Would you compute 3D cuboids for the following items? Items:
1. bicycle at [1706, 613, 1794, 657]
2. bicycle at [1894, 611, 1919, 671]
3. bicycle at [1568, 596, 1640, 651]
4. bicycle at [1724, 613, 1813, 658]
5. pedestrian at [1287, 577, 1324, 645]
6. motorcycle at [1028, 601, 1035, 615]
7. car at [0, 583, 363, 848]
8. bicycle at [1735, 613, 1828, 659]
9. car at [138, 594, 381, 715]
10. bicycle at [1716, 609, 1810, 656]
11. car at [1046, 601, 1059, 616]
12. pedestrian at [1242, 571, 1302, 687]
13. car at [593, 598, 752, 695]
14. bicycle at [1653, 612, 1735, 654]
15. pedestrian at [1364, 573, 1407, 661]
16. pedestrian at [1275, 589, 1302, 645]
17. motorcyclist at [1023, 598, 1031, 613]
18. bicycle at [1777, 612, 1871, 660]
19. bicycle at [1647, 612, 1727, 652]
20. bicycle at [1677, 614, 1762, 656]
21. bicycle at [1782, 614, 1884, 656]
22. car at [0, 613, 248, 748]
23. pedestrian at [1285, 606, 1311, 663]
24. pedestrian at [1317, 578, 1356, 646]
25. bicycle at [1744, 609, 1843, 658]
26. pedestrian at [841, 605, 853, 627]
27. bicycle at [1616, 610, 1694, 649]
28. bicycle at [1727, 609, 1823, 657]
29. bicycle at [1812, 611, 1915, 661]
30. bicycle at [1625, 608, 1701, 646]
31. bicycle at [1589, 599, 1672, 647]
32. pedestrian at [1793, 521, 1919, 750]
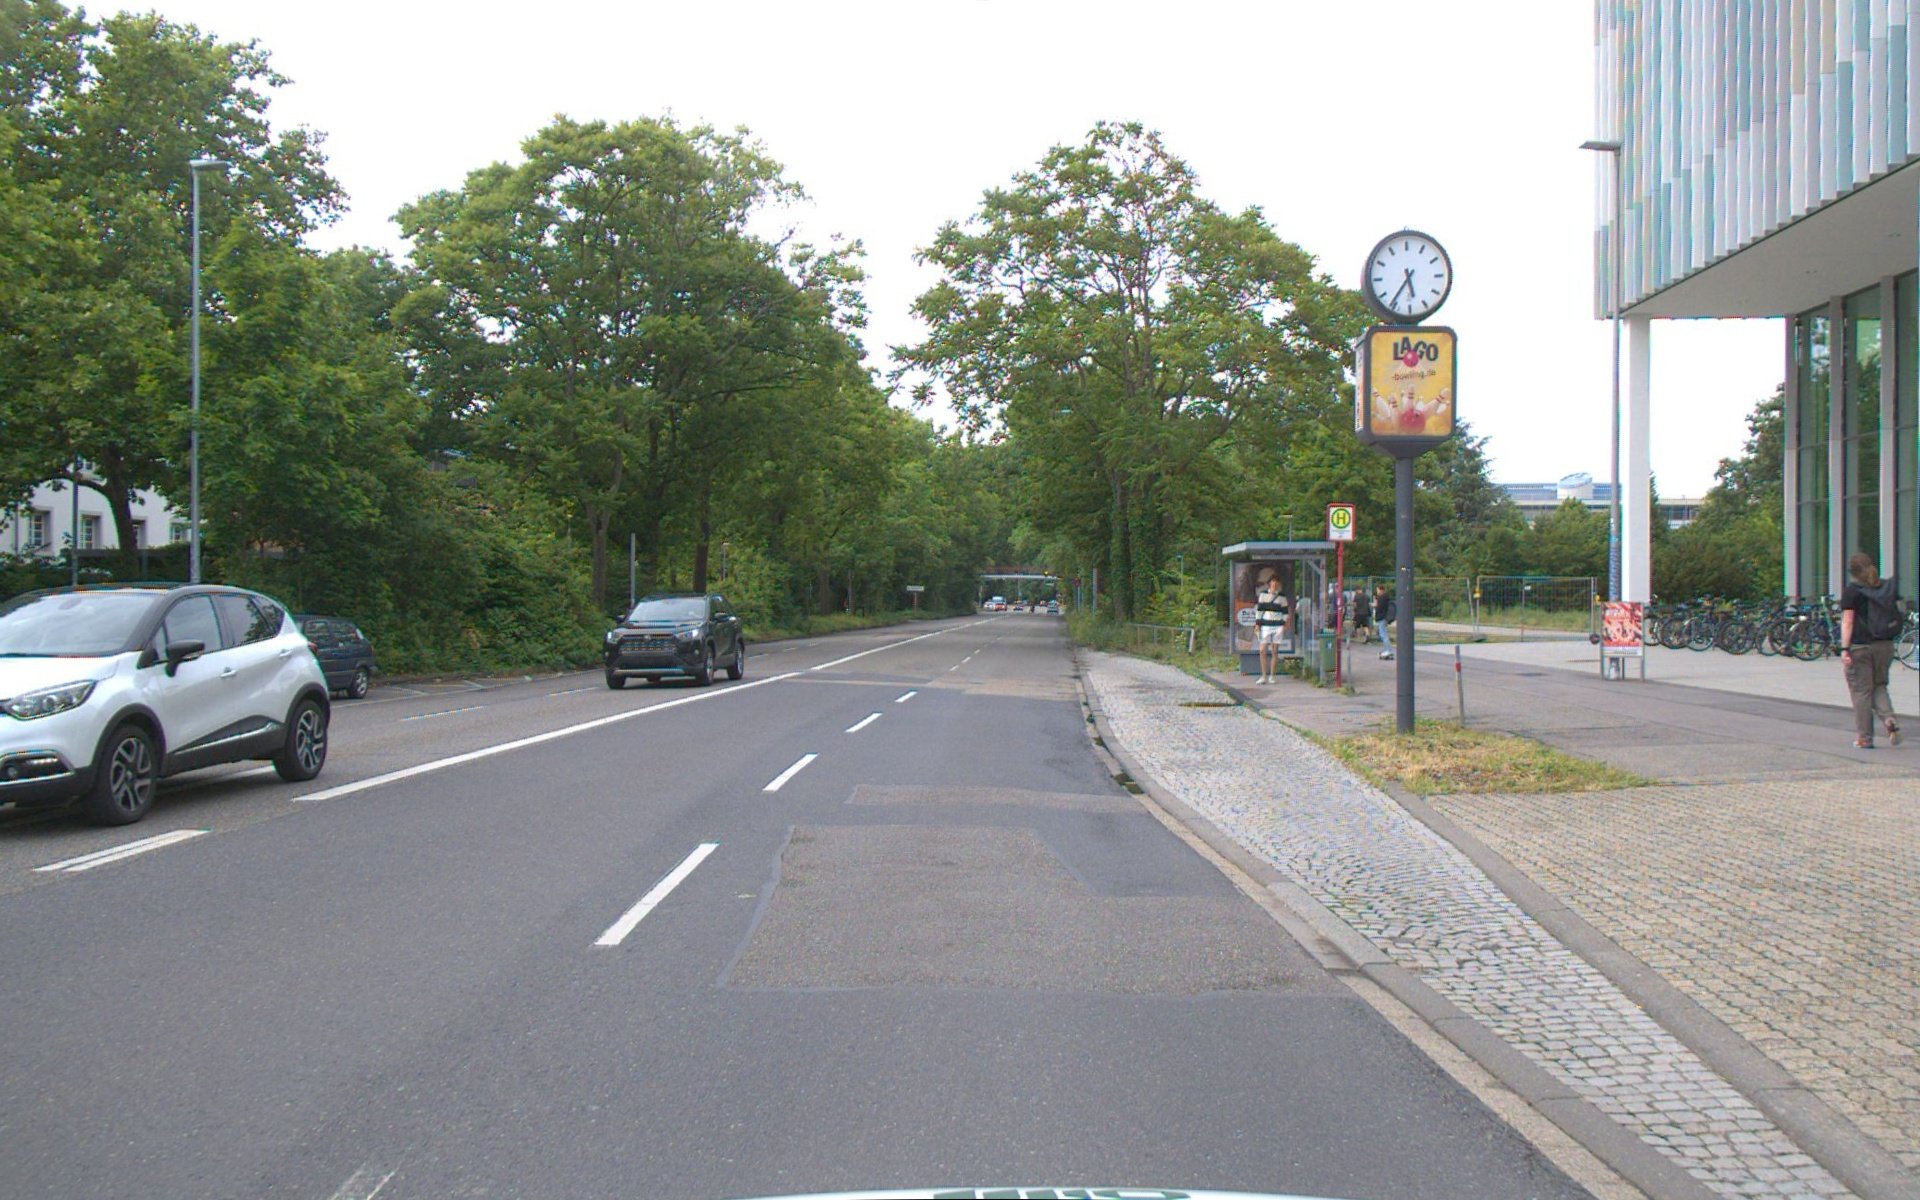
[{"bbox_3d":[16.732,0.748,35.030,1.572,0.890,0.556,-1,-1,4],"label":"bicycle"},{"bbox_3d":[15.106,0.606,25.040,1.572,0.890,0.556,-1,-1,4],"label":"bicycle"},{"bbox_3d":[16.571,0.608,42.585,1.612,1.356,0.463,-3,-1,17],"label":"bicycle"},{"bbox_3d":[16.654,0.728,34.075,1.570,0.900,0.516,0,-1,3],"label":"bicycle"},{"bbox_3d":[10.537,0.322,50.481,0.906,2.049,1.039,0,-1,-1],"label":"pedestrian"},{"bbox_3d":[10.083,1.158,233.475,0.969,1.970,2.670,2,0,3],"label":"motorcycle"},{"bbox_3d":[-6.190,0.728,12.037,1.952,1.574,4.181,-2,-1,3],"label":"car"},{"bbox_3d":[16.626,0.721,33.507,1.572,0.890,0.556,-1,-1,4],"label":"bicycle"},{"bbox_3d":[-11.078,0.817,26.500,1.952,1.719,4.002,2,0,3],"label":"car"},{"bbox_3d":[16.031,0.649,33.042,1.572,0.890,0.556,-1,-1,4],"label":"bicycle"},{"bbox_3d":[12.841,1.218,229.681,1.805,2.049,4.002,2,0,3],"label":"car"},{"bbox_3d":[5.701,0.516,30.263,0.893,2.048,0.854,-2,1,2],"label":"pedestrian"},{"bbox_3d":[-5.132,0.798,30.159,1.863,1.621,4.518,-1,0,3],"label":"car"},{"bbox_3d":[16.516,0.735,37.253,1.572,0.890,0.556,-2,-1,4],"label":"bicycle"},{"bbox_3d":[10.097,0.407,39.251,0.825,2.049,0.895,0,-1,4],"label":"pedestrian"},{"bbox_3d":[11.994,0.619,60.353,0.807,2.049,0.720,-1,-1,0],"label":"pedestrian"},{"bbox_3d":[9.501,0.749,233.355,1.041,2.049,0.843,2,0,3],"label":"motorcyclist"},{"bbox_3d":[16.070,0.673,30.777,1.424,0.854,0.556,-1,-1,4],"label":"bicycle"},{"bbox_3d":[16.621,0.732,37.835,1.572,0.890,0.556,-1,-1,4],"label":"bicycle"},{"bbox_3d":[16.626,0.762,36.228,1.572,0.890,0.556,-1,-1,4],"label":"bicycle"},{"bbox_3d":[15.863,0.632,30.077,1.527,0.729,0.556,-1,-1,4],"label":"bicycle"},{"bbox_3d":[-11.413,0.935,21.402,1.834,1.449,4.731,3,0,7],"label":"car"},{"bbox_3d":[12.402,1.257,60.682,0.806,2.049,0.720,-1,-1,3],"label":"pedestrian"},{"bbox_3d":[11.460,0.355,50.387,0.906,2.049,1.039,0,-1,-1],"label":"pedestrian"},{"bbox_3d":[15.837,0.635,31.436,1.572,0.890,0.556,-1,-1,4],"label":"bicycle"},{"bbox_3d":[-8.466,1.200,124.198,0.775,1.641,0.848,2,0,3],"label":"pedestrian"},{"bbox_3d":[16.303,0.690,38.819,1.572,0.890,0.556,-1,-1,4],"label":"bicycle"},{"bbox_3d":[15.989,0.648,32.459,1.572,0.890,0.556,-1,-1,4],"label":"bicycle"},{"bbox_3d":[16.041,0.640,29.392,1.500,0.848,0.556,-1,-1,4],"label":"bicycle"},{"bbox_3d":[16.842,0.652,39.642,1.573,0.890,0.556,0,0,0],"label":"bicycle"},{"bbox_3d":[16.536,0.563,40.806,1.757,1.101,0.626,-2,-1,2],"label":"bicycle"},{"bbox_3d":[8.453,0.324,15.472,0.825,2.049,0.895,-2,-1,5],"label":"pedestrian"}]
